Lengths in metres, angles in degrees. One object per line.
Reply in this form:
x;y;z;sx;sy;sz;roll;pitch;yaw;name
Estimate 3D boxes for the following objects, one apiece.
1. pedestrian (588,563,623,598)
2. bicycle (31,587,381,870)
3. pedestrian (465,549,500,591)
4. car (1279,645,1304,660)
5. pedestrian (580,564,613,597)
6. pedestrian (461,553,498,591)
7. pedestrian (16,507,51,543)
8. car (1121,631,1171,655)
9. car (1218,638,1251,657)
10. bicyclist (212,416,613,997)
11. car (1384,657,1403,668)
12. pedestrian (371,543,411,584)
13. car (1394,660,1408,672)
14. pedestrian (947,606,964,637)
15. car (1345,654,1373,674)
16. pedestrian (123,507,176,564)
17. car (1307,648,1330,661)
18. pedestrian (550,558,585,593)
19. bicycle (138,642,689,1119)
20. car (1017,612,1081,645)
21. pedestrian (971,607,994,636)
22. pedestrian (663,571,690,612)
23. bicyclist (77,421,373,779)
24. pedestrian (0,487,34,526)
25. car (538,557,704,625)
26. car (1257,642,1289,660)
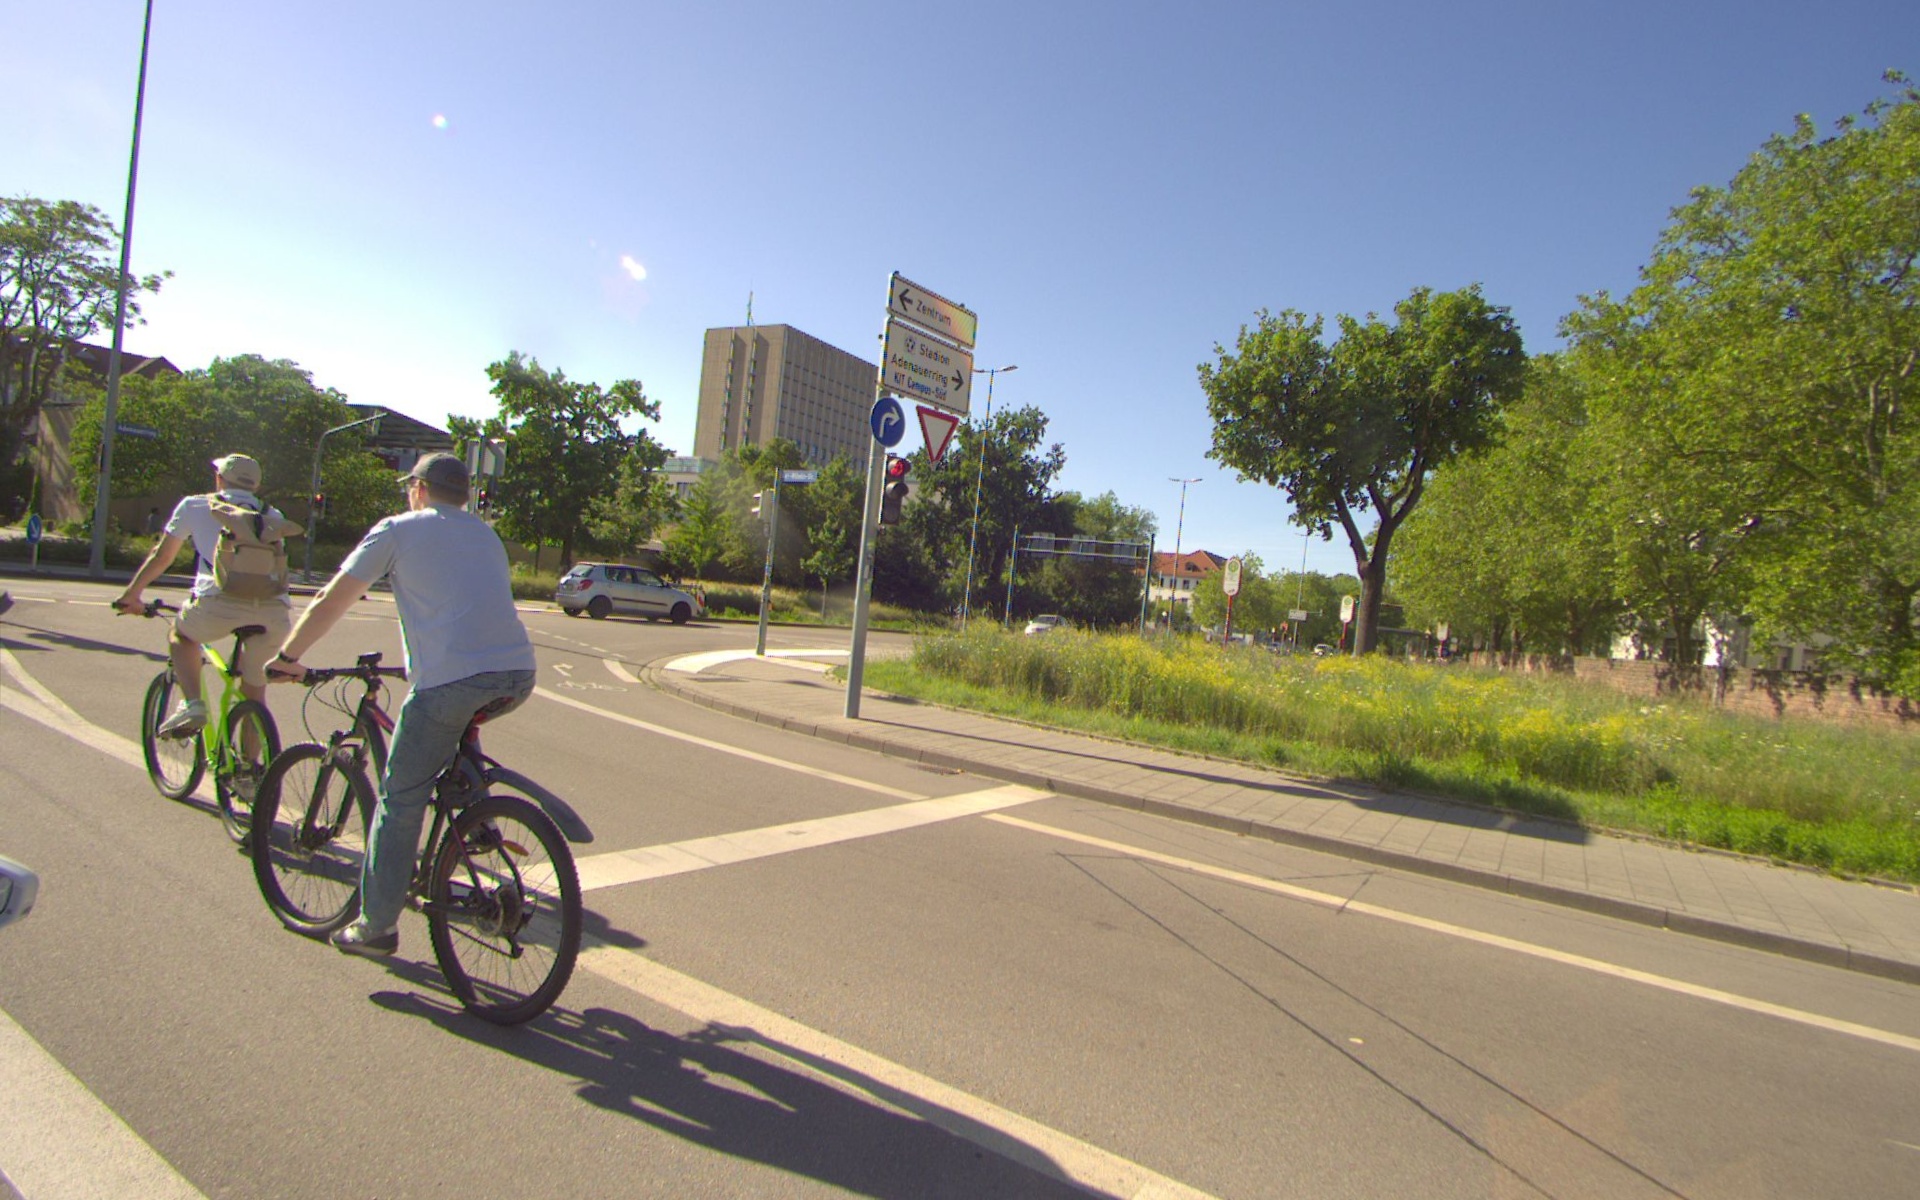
-17.661;-0.964;50.109;0.975;1.540;1.129;7;1;35;pedestrian
-3.832;0.578;5.073;1.813;1.063;0.672;6;-1;31;bicycle
-21.704;-1.365;45.713;0.911;1.754;0.963;7;1;33;pedestrian
41.470;6.562;125.692;1.891;1.625;4.074;7;0;33;car
-18.283;-0.981;50.556;0.865;1.540;1.144;7;1;35;pedestrian
-21.139;-1.227;44.243;0.865;1.540;1.074;7;1;36;pedestrian
-46.391;-3.763;50.371;1.156;1.633;0.936;7;1;32;pedestrian
15.270;3.546;82.468;1.909;1.613;4.860;7;0;38;car
29.462;5.112;107.913;1.968;1.625;4.506;7;0;33;car
-1.863;0.298;3.456;0.851;1.695;0.741;7;1;30;bicyclist
72.386;10.424;167.938;1.892;1.625;4.072;7;0;35;car
-23.633;-1.493;41.770;0.917;1.540;1.083;7;1;41;pedestrian
83.777;12.576;191.115;1.966;1.786;3.996;6;-2;30;car
-0.324;1.597;74.260;0.633;2.194;0.912;7;1;35;pedestrian
35.679;5.713;89.987;1.712;1.535;3.994;7;0;28;car
-29.650;-2.364;36.803;0.953;1.879;1.294;7;1;43;pedestrian
44.919;6.844;126.106;1.966;1.378;4.002;7;0;29;car
-18.984;-1.196;48.623;0.927;1.540;1.145;7;1;38;pedestrian
-1.937;0.793;3.484;1.871;1.064;0.748;6;1;30;bicycle
5.514;1.787;61.685;1.882;1.625;4.124;7;0;37;car
1.778;1.700;79.895;1.065;2.106;1.231;7;1;35;pedestrian
-15.429;-0.435;54.753;0.800;2.106;0.896;7;1;35;pedestrian
-3.679;-0.015;5.041;1.063;1.601;0.675;7;-1;31;bicyclist
-46.933;-4.655;50.045;0.968;1.763;0.953;7;1;32;pedestrian
-9.256;-0.234;27.680;1.867;1.419;3.839;3;-4;42;car
33.881;5.528;108.775;1.968;1.625;4.127;7;0;35;car
